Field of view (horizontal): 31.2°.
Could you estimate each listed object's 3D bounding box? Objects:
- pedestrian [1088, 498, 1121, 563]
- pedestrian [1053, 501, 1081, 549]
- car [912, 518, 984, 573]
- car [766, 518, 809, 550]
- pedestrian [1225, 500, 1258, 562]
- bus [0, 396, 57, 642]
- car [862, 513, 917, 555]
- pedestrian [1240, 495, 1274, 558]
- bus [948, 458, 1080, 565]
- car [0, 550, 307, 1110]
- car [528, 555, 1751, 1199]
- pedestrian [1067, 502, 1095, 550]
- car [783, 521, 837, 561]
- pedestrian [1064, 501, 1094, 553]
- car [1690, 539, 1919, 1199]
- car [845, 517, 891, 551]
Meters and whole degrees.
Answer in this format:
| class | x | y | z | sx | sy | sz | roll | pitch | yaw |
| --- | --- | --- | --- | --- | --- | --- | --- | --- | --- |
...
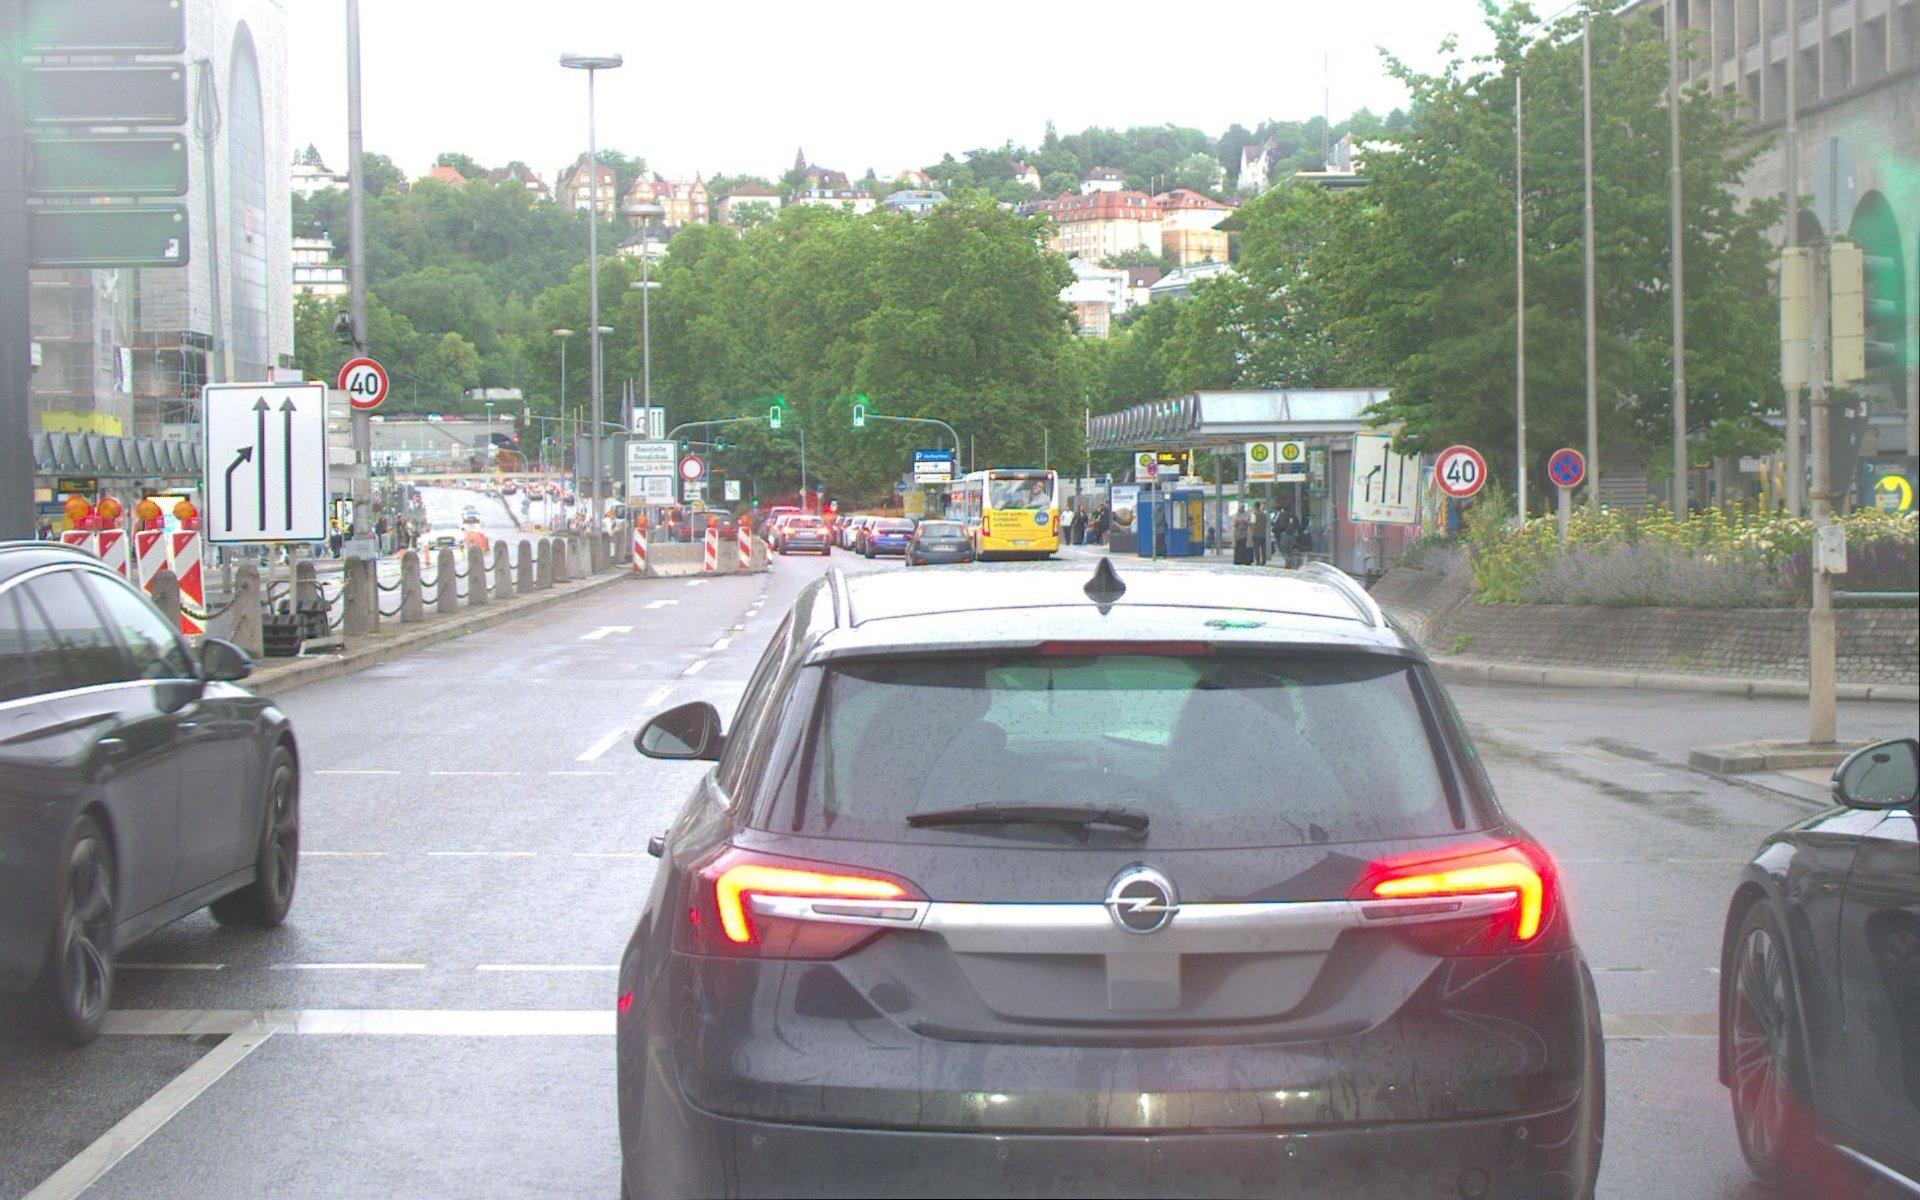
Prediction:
| class | x | y | z | sx | sy | sz | roll | pitch | yaw |
| --- | --- | --- | --- | --- | --- | --- | --- | --- | --- |
| pedestrian | 5.460 | -2.629 | 129.890 | 1.199 | 2.427 | 1.228 | 1 | 0 | 1 |
| pedestrian | 4.786 | -3.350 | 154.243 | 1.199 | 2.141 | 1.228 | 1 | 1 | 1 |
| car | -0.329 | -1.431 | 91.138 | 1.845 | 1.393 | 3.667 | 1 | 1 | -1 |
| car | -7.668 | -2.925 | 153.245 | 1.759 | 1.393 | 3.564 | 1 | 1 | -1 |
| pedestrian | 7.786 | -1.910 | 95.098 | 0.763 | 1.684 | 0.825 | 1 | 0 | -5 |
| bus | -15.331 | -1.171 | 48.271 | 2.668 | 3.589 | 10.212 | 1 | 1 | -1 |
| car | -2.495 | -2.294 | 120.273 | 1.753 | 1.393 | 4.649 | 1 | 1 | -3 |
| pedestrian | 8.108 | -2.004 | 93.836 | 0.763 | 1.684 | 0.825 | 1 | 0 | -5 |
| bus | 1.751 | -3.006 | 120.480 | 4.173 | 3.457 | 14.655 | 1 | 1 | -1 |
| car | -3.456 | 0.567 | 11.090 | 1.855 | 1.464 | 4.587 | 1 | 1 | -1 |
| car | 0.236 | 0.662 | 7.306 | 1.874 | 1.481 | 4.000 | 1 | 1 | -1 |
| pedestrian | 5.527 | -3.376 | 157.416 | 1.199 | 2.141 | 1.228 | 1 | 1 | 1 |
| car | -5.507 | -2.159 | 126.442 | 1.845 | 1.393 | 3.564 | 1 | 1 | -1 |
| pedestrian | 4.969 | -3.039 | 143.681 | 1.199 | 2.141 | 1.228 | 1 | 1 | 1 |
| car | 2.720 | 0.650 | 6.146 | 1.793 | 1.496 | 4.629 | 1 | 1 | 0 |
| car | -3.836 | -2.754 | 143.435 | 1.845 | 1.393 | 3.564 | 1 | 1 | -1 |
